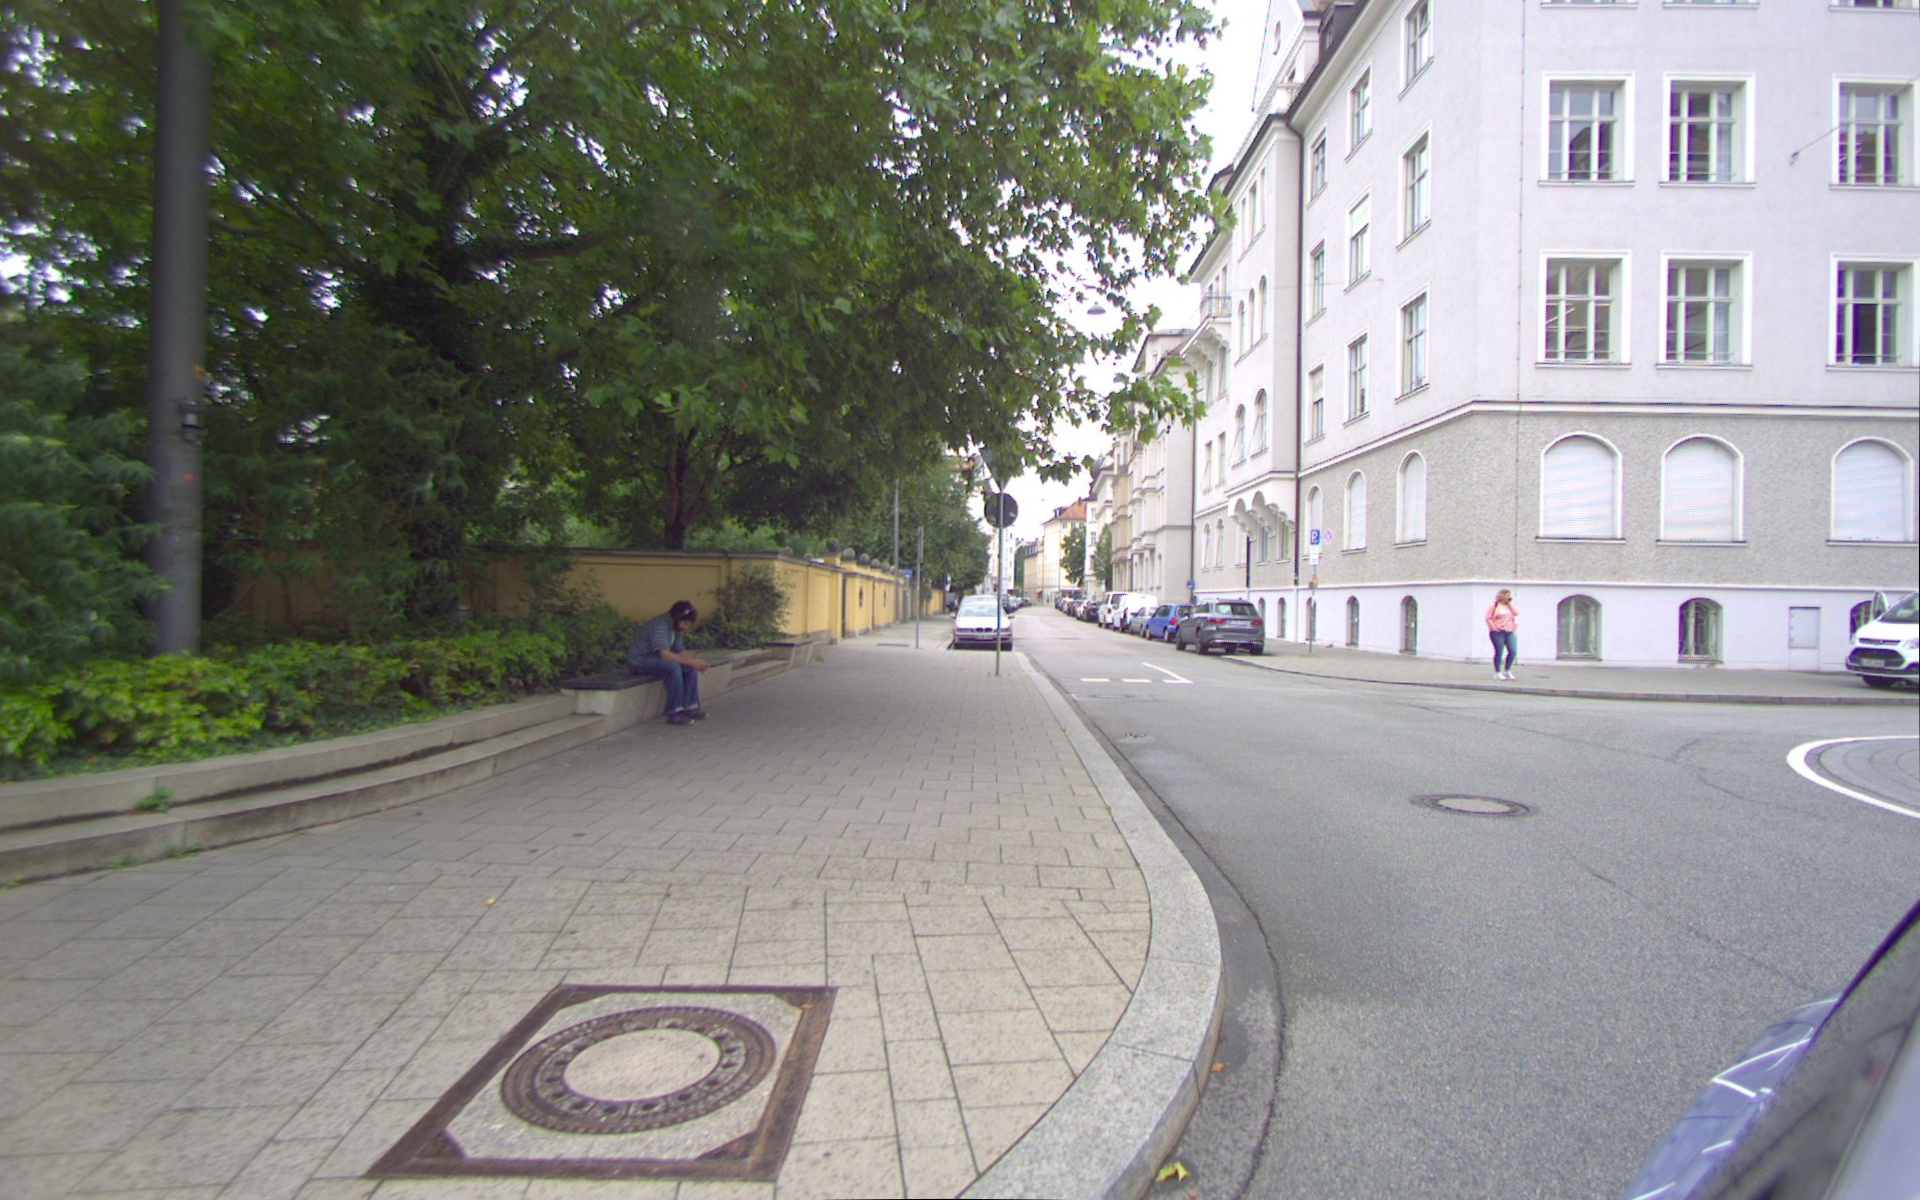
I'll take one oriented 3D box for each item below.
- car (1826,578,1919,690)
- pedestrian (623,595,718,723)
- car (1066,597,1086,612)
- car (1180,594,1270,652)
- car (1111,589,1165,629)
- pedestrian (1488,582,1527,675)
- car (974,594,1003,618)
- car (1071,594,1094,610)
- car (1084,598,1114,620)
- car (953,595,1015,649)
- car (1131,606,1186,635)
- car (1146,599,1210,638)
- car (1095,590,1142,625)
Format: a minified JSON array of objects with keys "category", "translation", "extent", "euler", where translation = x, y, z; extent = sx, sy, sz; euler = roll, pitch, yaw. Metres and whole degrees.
[{"category":"car","translation":[19.260,0.605,18.593],"extent":[4.881,1.959,1.951],"euler":[1,1,2]},{"category":"pedestrian","translation":[-2.816,0.557,9.888],"extent":[0.731,1.192,0.578],"euler":[1,0,2]},{"category":"car","translation":[10.733,0.400,93.791],"extent":[1.756,1.371,3.995],"euler":[0,0,5]},{"category":"car","translation":[7.812,0.633,30.213],"extent":[1.705,1.602,3.999],"euler":[0,0,1]},{"category":"car","translation":[8.372,0.397,47.894],"extent":[1.790,1.780,4.109],"euler":[0,1,0]},{"category":"pedestrian","translation":[10.688,0.546,19.759],"extent":[0.561,1.790,0.404],"euler":[0,0,9]},{"category":"car","translation":[1.841,0.384,66.088],"extent":[1.705,1.487,4.000],"euler":[1,0,-1]},{"category":"car","translation":[10.631,0.182,87.969],"extent":[1.756,1.371,3.995],"euler":[0,0,5]},{"category":"car","translation":[9.301,0.595,67.758],"extent":[1.756,1.371,3.995],"euler":[0,0,5]},{"category":"car","translation":[0.670,0.605,30.596],"extent":[1.705,1.487,4.000],"euler":[1,0,-1]},{"category":"car","translation":[8.316,0.837,42.570],"extent":[1.669,1.102,3.216],"euler":[0,1,0]},{"category":"car","translation":[8.080,0.661,37.724],"extent":[1.669,1.349,3.298],"euler":[0,1,0]},{"category":"car","translation":[8.445,0.366,54.108],"extent":[1.874,1.780,4.053],"euler":[0,1,0]}]
